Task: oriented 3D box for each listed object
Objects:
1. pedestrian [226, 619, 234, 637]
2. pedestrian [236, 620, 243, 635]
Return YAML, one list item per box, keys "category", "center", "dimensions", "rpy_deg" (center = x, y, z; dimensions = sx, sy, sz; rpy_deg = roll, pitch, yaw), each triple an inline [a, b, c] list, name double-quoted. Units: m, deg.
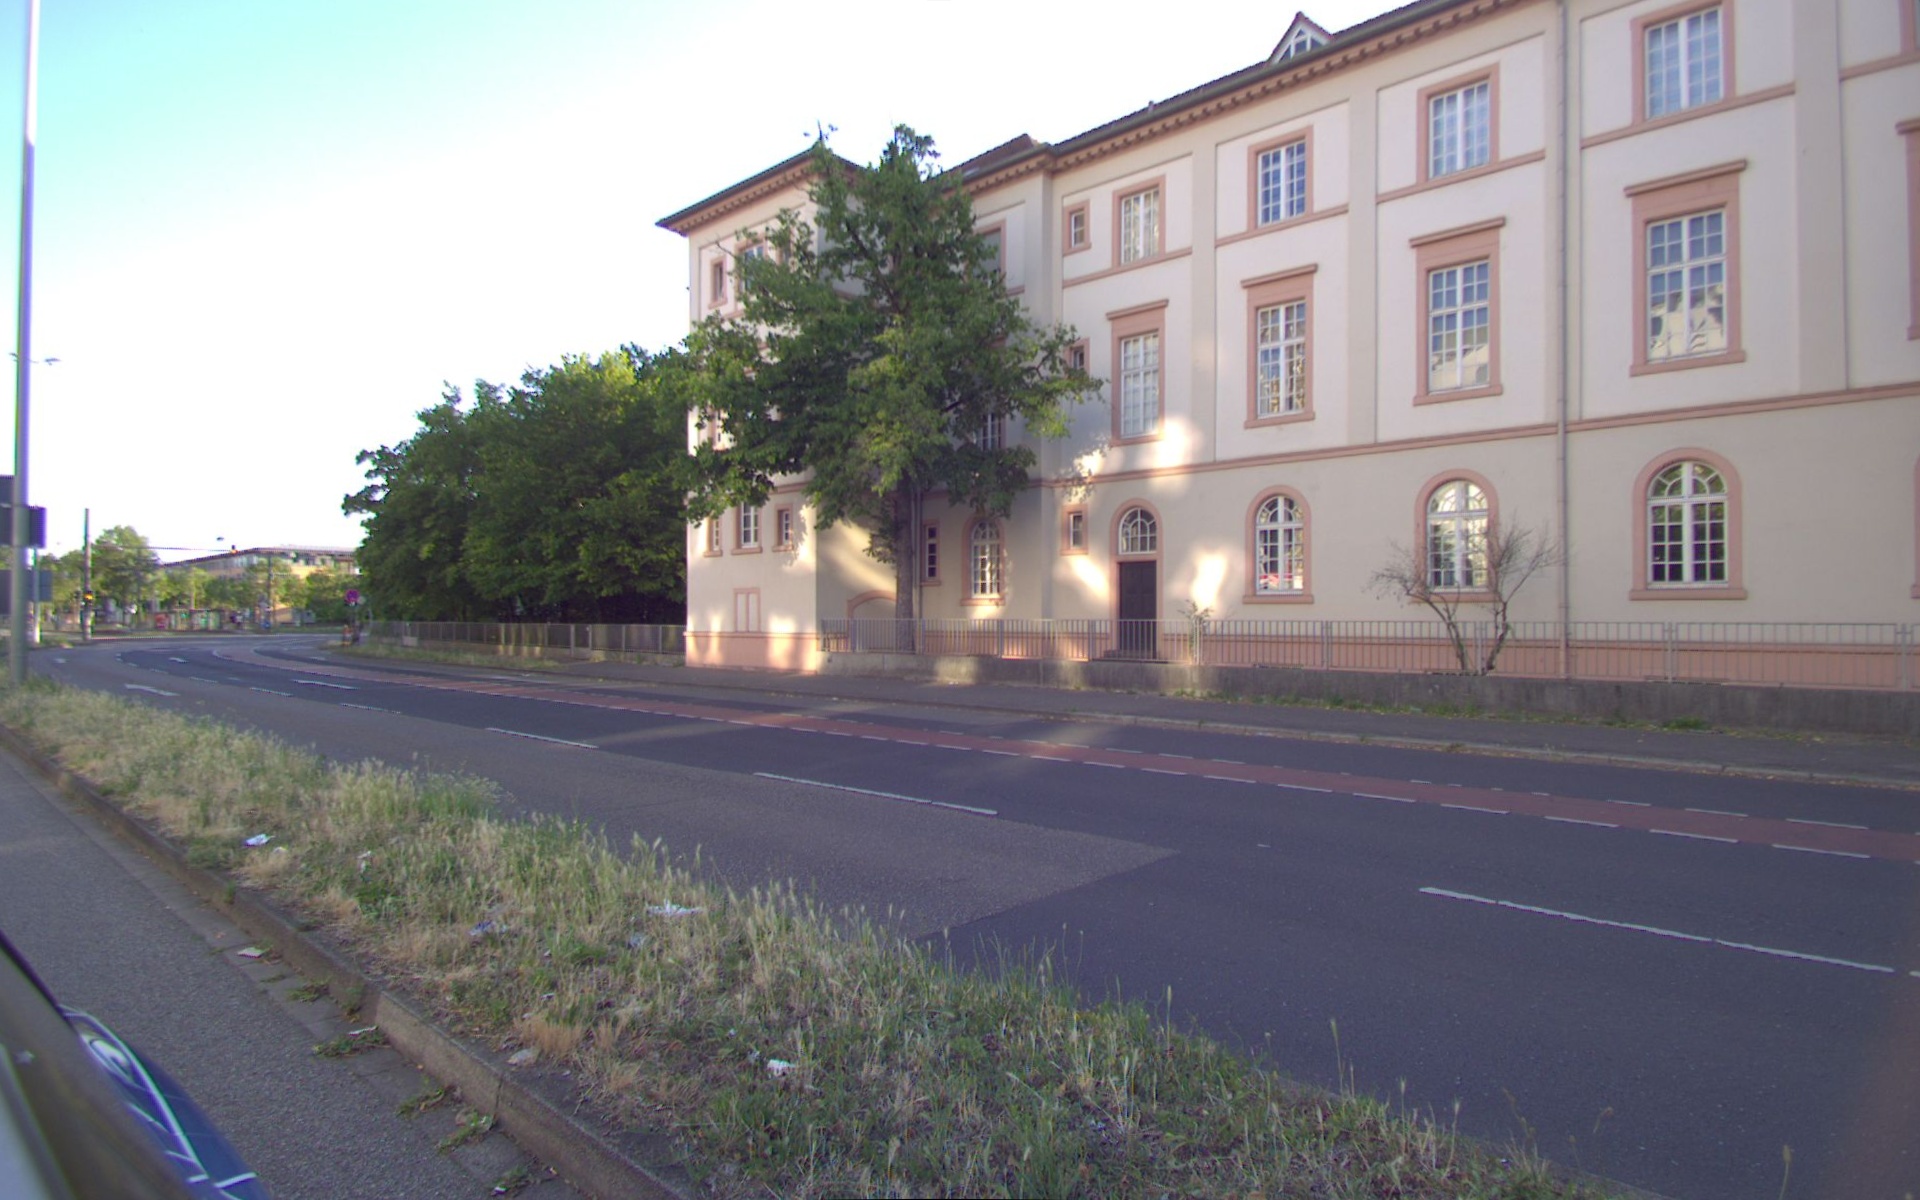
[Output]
- category: "pedestrian"
  center: [-80.546, 3.106, 111.600]
  dimensions: [0.664, 2.029, 0.549]
  rpy_deg: [-1, -2, 41]
- category: "pedestrian"
  center: [-79.819, 3.063, 112.096]
  dimensions: [0.419, 1.718, 0.461]
  rpy_deg: [-1, -2, 41]
